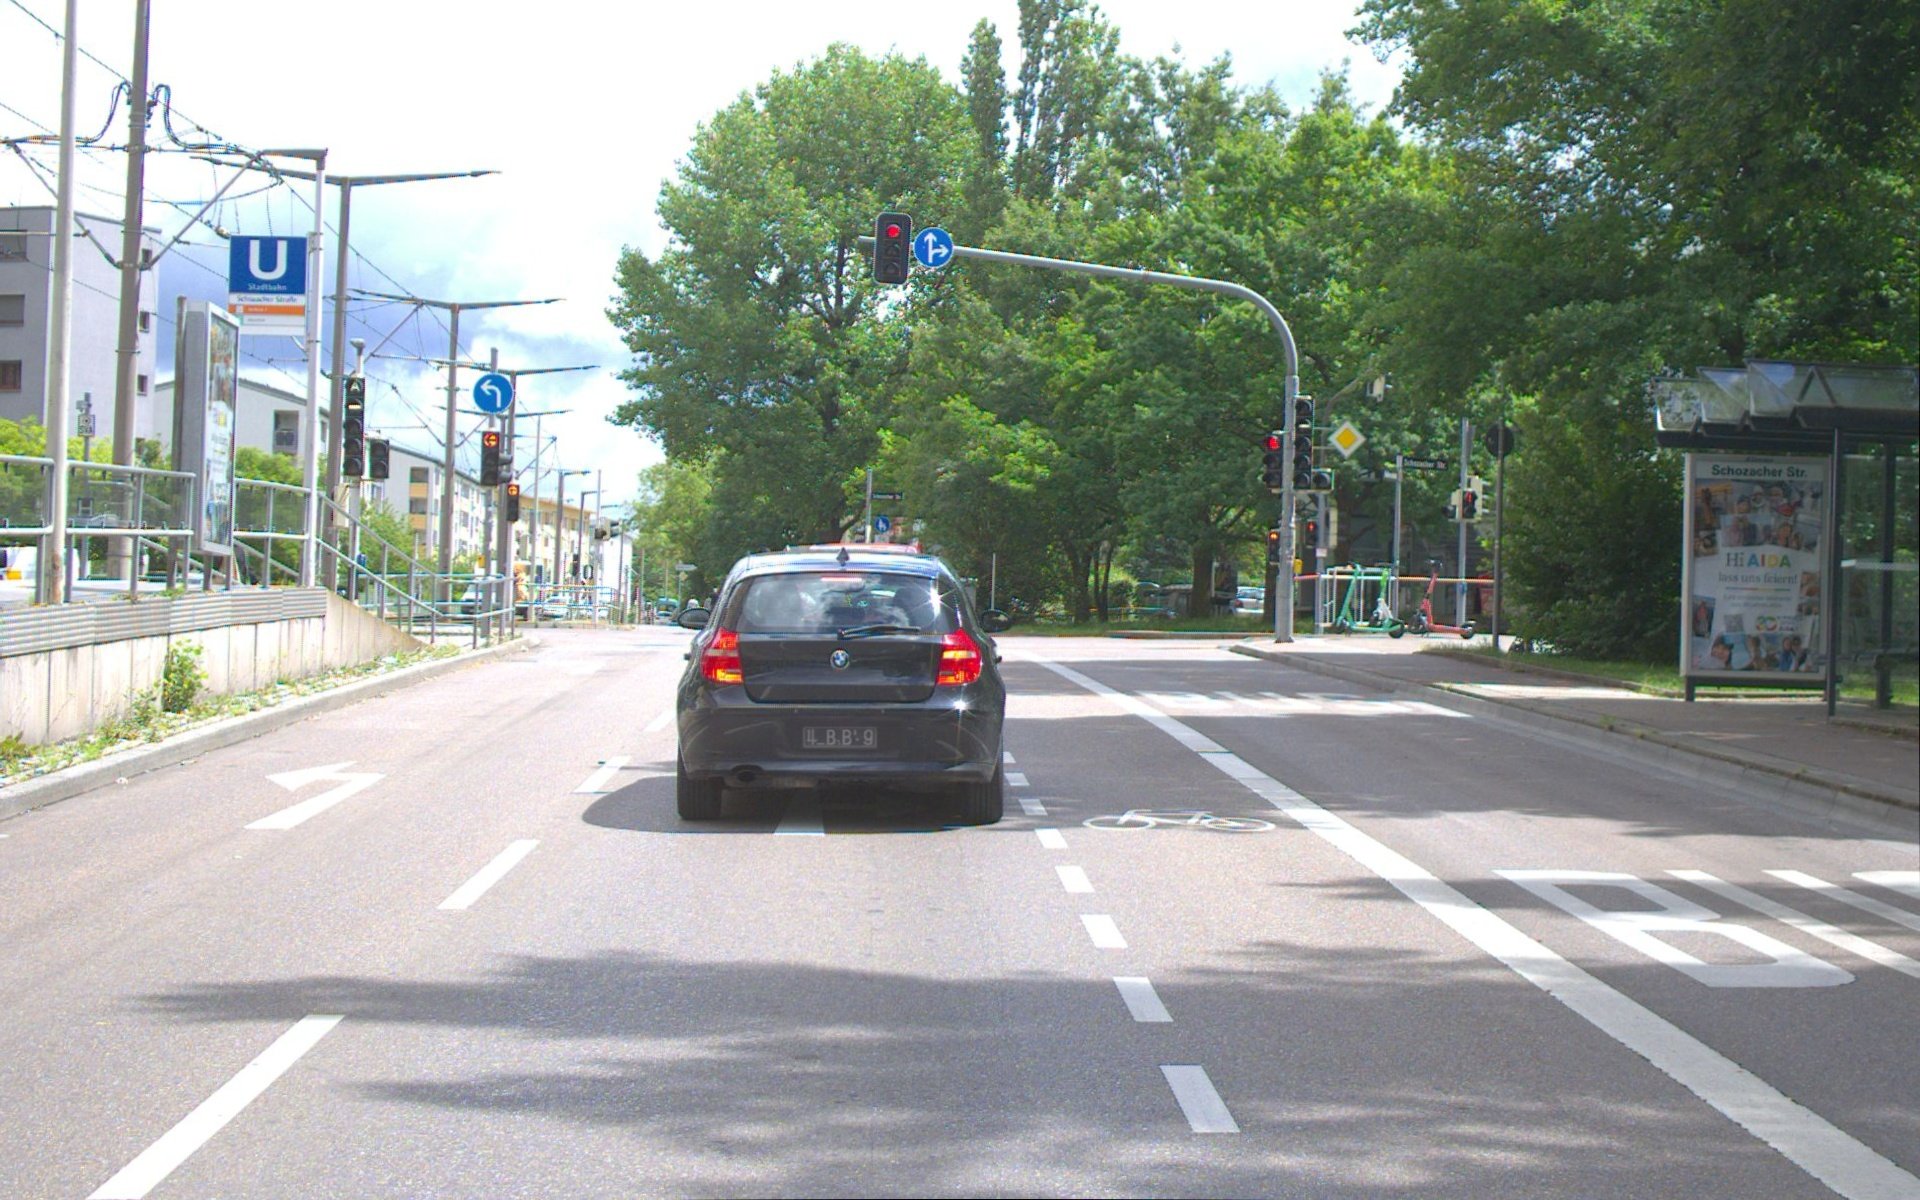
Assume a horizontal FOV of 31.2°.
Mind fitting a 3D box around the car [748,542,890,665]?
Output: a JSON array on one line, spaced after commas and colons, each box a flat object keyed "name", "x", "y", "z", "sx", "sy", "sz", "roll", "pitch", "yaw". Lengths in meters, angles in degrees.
[{"name": "car", "x": -1.751, "y": 0.013, "z": 42.223, "sx": 1.654, "sy": 1.414, "sz": 3.517, "roll": 1, "pitch": 1, "yaw": -3}]

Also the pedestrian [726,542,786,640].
[{"name": "pedestrian", "x": -3.013, "y": -0.134, "z": 50.938, "sx": 0.865, "sy": 1.437, "sz": 0.799, "roll": 0, "pitch": 1, "yaw": -2}]

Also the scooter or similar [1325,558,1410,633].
[{"name": "scooter or similar", "x": 6.486, "y": -0.075, "z": 54.719, "sx": 1.287, "sy": 1.185, "sz": 0.385, "roll": 0, "pitch": 1, "yaw": -16}]

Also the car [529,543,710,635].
[{"name": "car", "x": -7.804, "y": -0.260, "z": 78.734, "sx": 3.709, "sy": 2.007, "sz": 1.813, "roll": 1, "pitch": 0, "yaw": -24}]

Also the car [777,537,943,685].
[{"name": "car", "x": -0.993, "y": 0.078, "z": 35.149, "sx": 1.594, "sy": 1.414, "sz": 3.517, "roll": 1, "pitch": 1, "yaw": -1}]

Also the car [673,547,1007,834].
[{"name": "car", "x": -0.589, "y": 0.426, "z": 18.979, "sx": 1.654, "sy": 1.414, "sz": 3.517, "roll": 1, "pitch": 1, "yaw": 0}]

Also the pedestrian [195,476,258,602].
[{"name": "pedestrian", "x": -9.576, "y": -0.799, "z": 44.895, "sx": 0.701, "sy": 1.627, "sz": 0.638, "roll": 0, "pitch": 1, "yaw": -2}]

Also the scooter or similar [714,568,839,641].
[{"name": "scooter or similar", "x": -2.687, "y": 0.065, "z": 50.370, "sx": 1.780, "sy": 1.047, "sz": 0.410, "roll": 0, "pitch": 1, "yaw": -16}]

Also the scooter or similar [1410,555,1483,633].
[{"name": "scooter or similar", "x": 7.862, "y": -0.101, "z": 55.605, "sx": 1.106, "sy": 1.253, "sz": 0.332, "roll": 0, "pitch": 1, "yaw": -13}]

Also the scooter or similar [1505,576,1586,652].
[{"name": "scooter or similar", "x": 8.567, "y": 0.209, "z": 50.297, "sx": 1.148, "sy": 1.095, "sz": 0.332, "roll": 1, "pitch": 1, "yaw": -24}]

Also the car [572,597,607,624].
[{"name": "car", "x": -23.075, "y": 0.626, "z": 214.172, "sx": 1.966, "sy": 1.590, "sz": 4.001, "roll": 1, "pitch": 1, "yaw": -4}]
